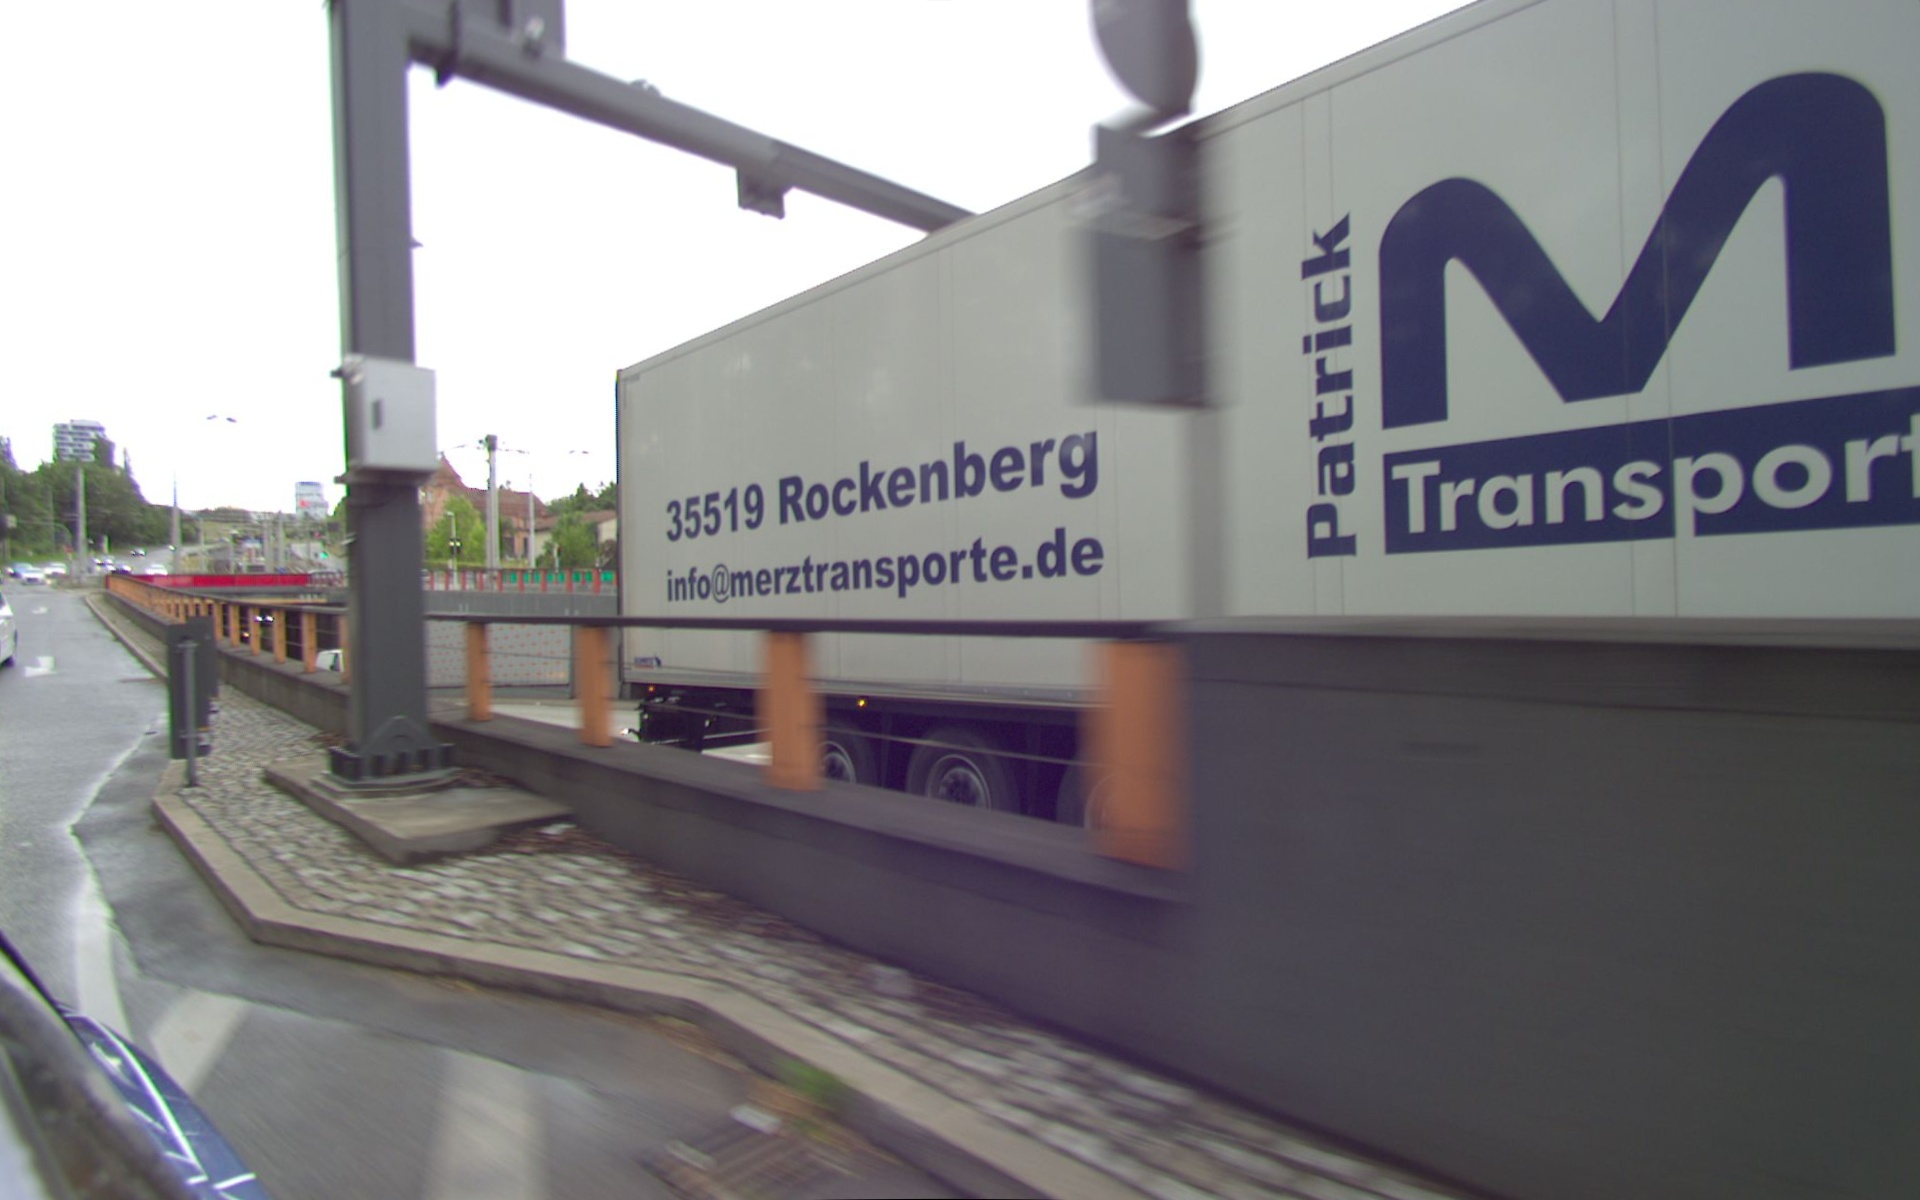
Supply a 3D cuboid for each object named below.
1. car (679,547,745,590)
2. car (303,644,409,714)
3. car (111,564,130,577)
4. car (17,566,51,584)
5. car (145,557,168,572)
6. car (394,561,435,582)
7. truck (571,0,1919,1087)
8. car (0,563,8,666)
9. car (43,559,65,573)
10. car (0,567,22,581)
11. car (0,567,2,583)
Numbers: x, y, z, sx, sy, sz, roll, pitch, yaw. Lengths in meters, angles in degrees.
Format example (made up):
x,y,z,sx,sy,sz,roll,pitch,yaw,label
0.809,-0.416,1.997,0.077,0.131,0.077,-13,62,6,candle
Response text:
x,y,z,sx,sy,sz,roll,pitch,yaw,label
-17.598,-2.228,71.596,1.969,2.853,5.725,1,1,-42,car
-20.068,2.573,33.532,1.970,2.042,4.689,-1,-2,-44,car
-103.259,-3.682,124.469,1.775,1.482,4.007,-1,4,-41,car
-86.884,-2.348,94.968,1.711,1.599,4.012,-1,4,-33,car
-94.668,-4.216,119.285,1.711,1.599,4.012,-1,4,-33,car
-58.710,-3.091,108.926,3.980,2.028,1.982,4,4,27,car
1.893,-0.736,5.718,2.730,4.229,13.040,0,0,-44,truck
-17.628,0.237,17.298,1.828,1.764,4.006,0,1,-41,car
-101.014,-3.786,112.902,1.775,1.523,4.005,-1,1,-42,car
-104.613,-2.851,111.316,1.861,1.482,4.015,-1,1,-40,car
-90.671,-2.312,94.271,1.861,1.482,4.015,-1,1,-40,car
